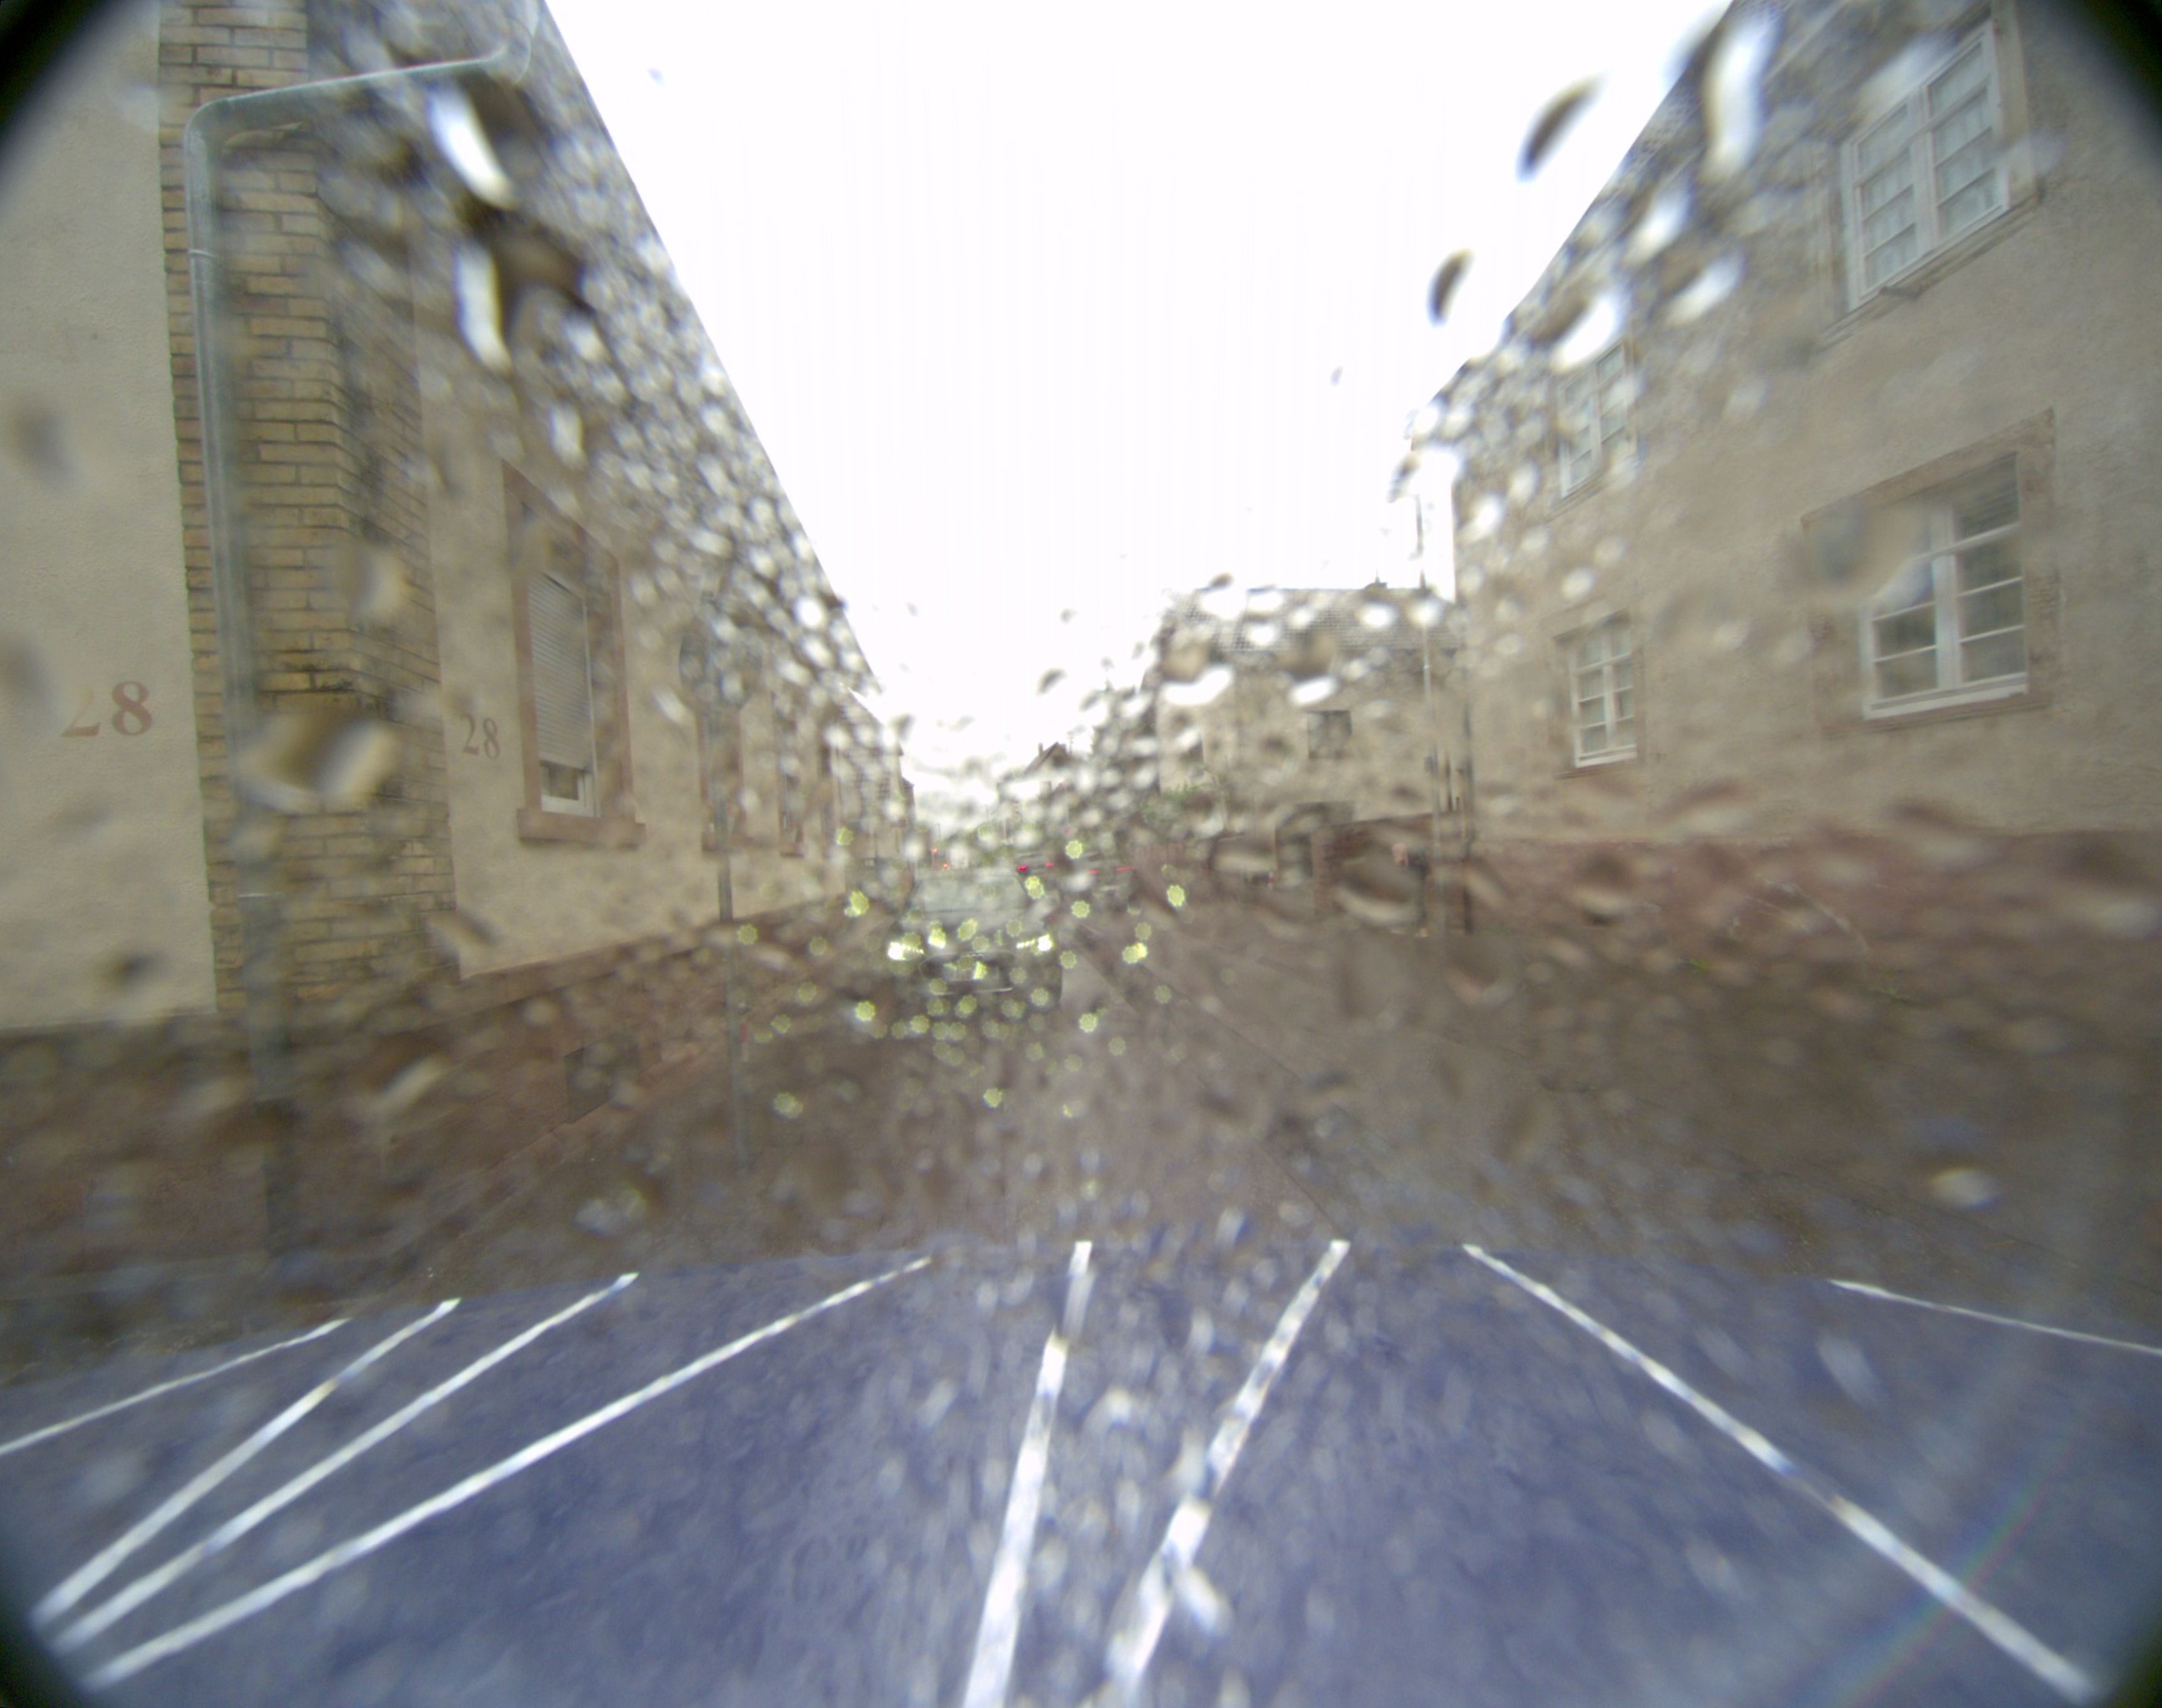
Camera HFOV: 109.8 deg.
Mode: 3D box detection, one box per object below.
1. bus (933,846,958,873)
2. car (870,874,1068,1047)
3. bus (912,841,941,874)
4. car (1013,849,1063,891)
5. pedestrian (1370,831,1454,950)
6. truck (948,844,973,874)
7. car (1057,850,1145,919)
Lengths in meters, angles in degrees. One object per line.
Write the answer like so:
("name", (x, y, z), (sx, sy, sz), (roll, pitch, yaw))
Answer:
("bus", (-17.317, 0.634, 96.638), (2.670, 3.213, 12.178), (-2, 1, -12))
("car", (-1.324, 1.016, 8.979), (1.740, 1.363, 4.098), (-2, 0, -9))
("bus", (-17.109, 0.319, 83.435), (2.671, 3.213, 12.177), (-2, 1, -13))
("car", (-2.051, 0.690, 35.083), (1.786, 1.655, 4.422), (-5, 2, -8))
("pedestrian", (4.541, 0.480, 10.456), (0.574, 1.529, 0.832), (-6, 1, -12))
("truck", (-10.708, 0.409, 67.077), (2.000, 2.490, 5.645), (-2, 1, -10))
("car", (0.432, 0.737, 20.479), (1.627, 1.502, 3.790), (-6, 1, -8))
